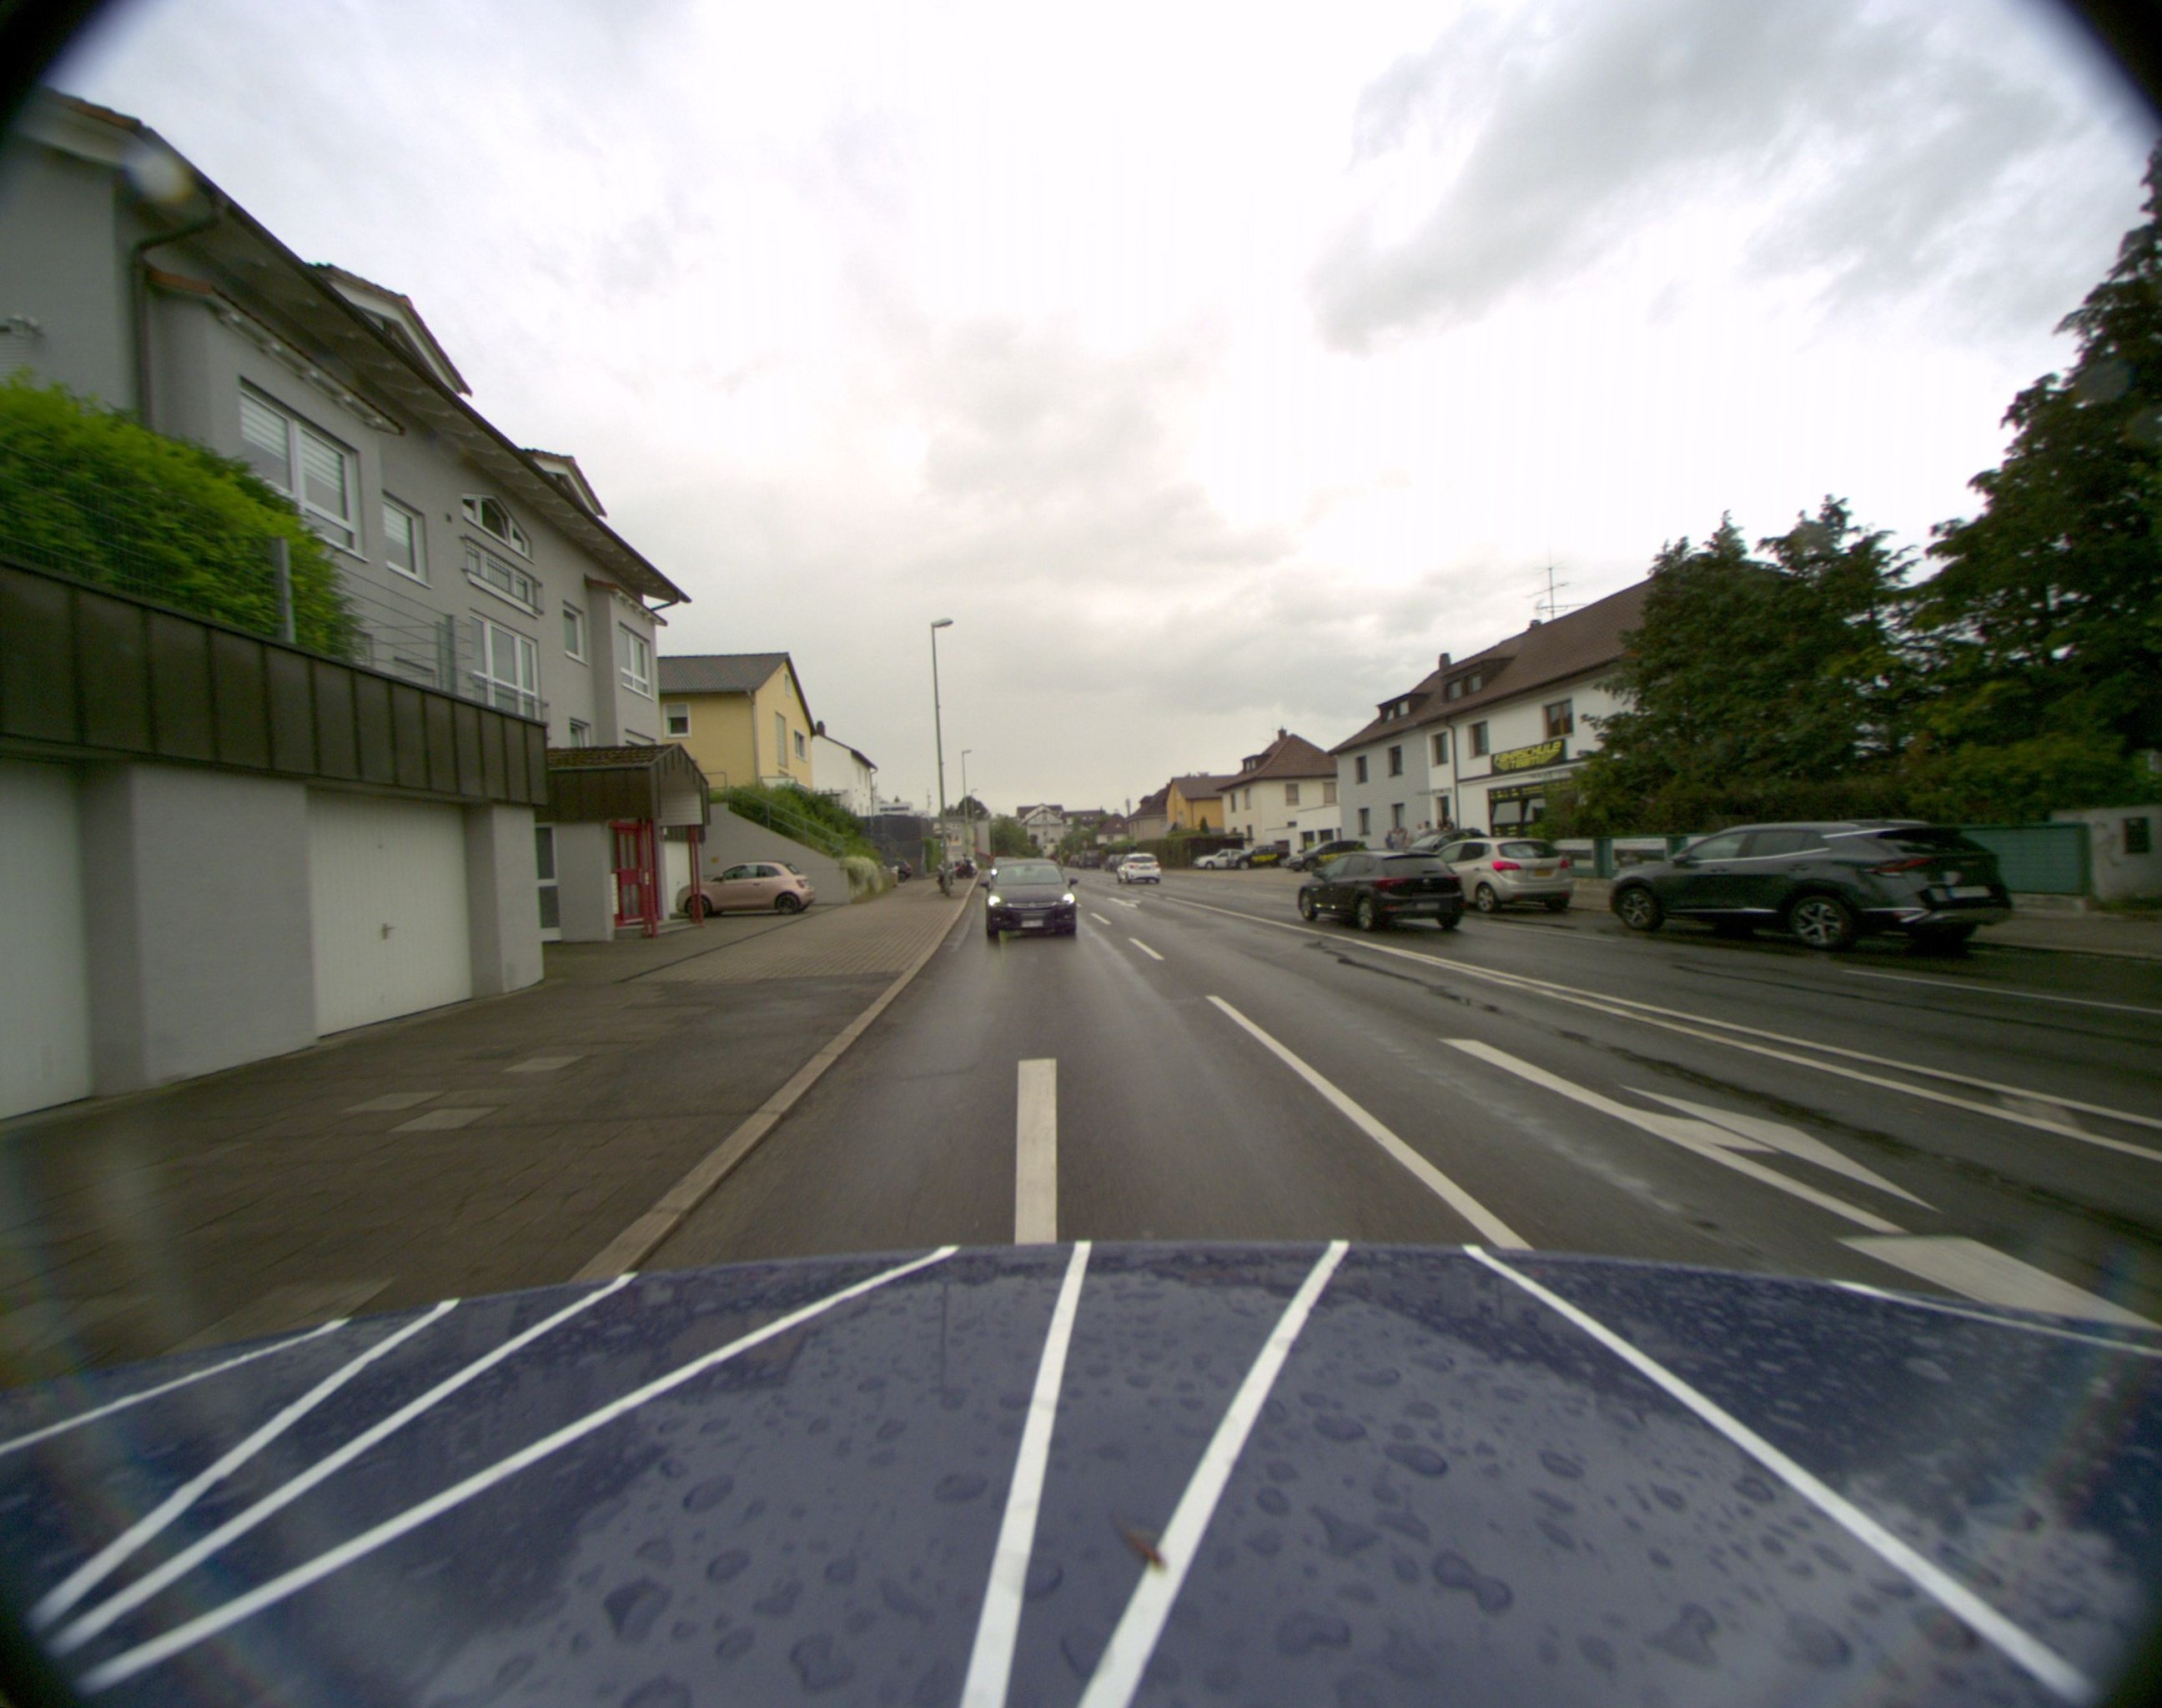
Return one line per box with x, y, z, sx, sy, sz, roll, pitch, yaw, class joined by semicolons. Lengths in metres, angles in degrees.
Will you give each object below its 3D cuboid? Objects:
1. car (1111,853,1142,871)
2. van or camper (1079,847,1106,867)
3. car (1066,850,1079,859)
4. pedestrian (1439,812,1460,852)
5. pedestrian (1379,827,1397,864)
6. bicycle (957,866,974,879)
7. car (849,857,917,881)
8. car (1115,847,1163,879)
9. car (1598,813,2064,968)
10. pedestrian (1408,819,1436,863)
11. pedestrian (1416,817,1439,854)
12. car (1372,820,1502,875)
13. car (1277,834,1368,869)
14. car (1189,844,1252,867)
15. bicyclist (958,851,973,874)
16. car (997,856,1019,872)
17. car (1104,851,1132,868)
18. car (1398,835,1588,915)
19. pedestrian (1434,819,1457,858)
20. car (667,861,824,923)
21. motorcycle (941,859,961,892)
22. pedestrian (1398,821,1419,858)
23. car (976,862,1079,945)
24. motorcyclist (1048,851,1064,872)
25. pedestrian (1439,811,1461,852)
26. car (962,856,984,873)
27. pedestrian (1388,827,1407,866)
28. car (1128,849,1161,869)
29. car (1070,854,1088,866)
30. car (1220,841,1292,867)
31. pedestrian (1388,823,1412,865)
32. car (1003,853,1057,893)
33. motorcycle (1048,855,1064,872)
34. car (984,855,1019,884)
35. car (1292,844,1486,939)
3.788;0.655;64.085;1.810;1.407;3.997;-2;0;-9;car
1.231;0.302;84.199;2.191;2.002;5.130;-2;1;-7;van or camper
-1.598;0.037;139.907;1.999;1.565;3.997;-2;1;-5;car
16.073;-0.957;33.118;0.517;1.661;0.512;-6;1;0;pedestrian
15.074;-0.427;37.303;0.447;1.743;0.689;-6;1;-5;pedestrian
-8.140;1.323;53.722;0.733;0.821;2.235;-1;0;4;bicycle
-12.204;0.905;47.026;4.001;1.395;1.672;-2;0;-13;car
2.955;0.447;39.445;1.838;1.521;3.998;-2;0;-5;car
9.934;0.379;10.743;1.810;1.660;4.595;-2;1;-5;car
14.859;-0.570;33.103;0.734;1.856;0.686;-6;1;0;pedestrian
15.896;-0.845;34.872;0.584;1.661;0.575;-6;1;-8;pedestrian
13.586;-0.226;29.151;3.998;1.555;1.872;-7;0;-5;car
12.440;-0.128;39.266;3.999;1.412;1.883;-5;1;-6;car
10.113;0.116;55.154;4.114;1.475;1.838;2;-1;-13;car
-8.154;0.585;53.769;0.809;1.633;0.906;-1;1;3;bicyclist
-7.163;0.950;74.295;1.842;1.472;3.998;-2;-1;-8;car
3.352;0.474;69.297;1.810;1.505;3.997;-2;0;-9;car
9.195;0.404;17.409;1.810;1.559;4.140;-2;1;-5;car
16.384;-0.694;34.150;0.575;1.661;0.551;-6;1;-8;pedestrian
-9.357;1.023;21.479;3.644;1.476;1.811;-3;0;-10;car
-5.476;0.887;32.050;0.694;1.317;2.477;-2;0;-7;motorcycle
15.736;-0.689;36.524;0.588;1.698;0.561;-6;1;-8;pedestrian
-1.080;0.919;15.935;1.841;1.390;3.998;-2;1;-3;car
-1.705;0.508;51.502;0.953;1.413;0.992;-2;1;-4;motorcyclist
15.576;-0.955;32.081;0.674;1.661;0.691;-5;1;24;pedestrian
-9.509;0.907;67.174;1.738;1.481;3.998;-2;0;-5;car
14.945;-0.355;35.857;0.652;1.776;0.648;-5;0;18;pedestrian
4.853;0.362;58.227;1.810;1.407;3.998;-2;0;-5;car
-0.304;0.817;99.275;1.889;1.477;3.997;-2;0;-7;car
11.330;-0.022;49.322;4.111;1.412;1.883;-4;1;-6;car
14.144;-0.444;33.654;0.670;1.778;0.539;-6;1;-2;pedestrian
-2.093;0.755;30.064;1.911;1.389;4.856;-2;-2;-5;car
-1.693;0.646;51.389;0.944;1.101;2.405;-2;0;-4;motorcycle
-4.529;0.916;43.557;1.841;1.447;4.001;-2;-4;-6;car
5.666;0.610;14.568;1.717;1.494;3.997;-2;0;-7;car
